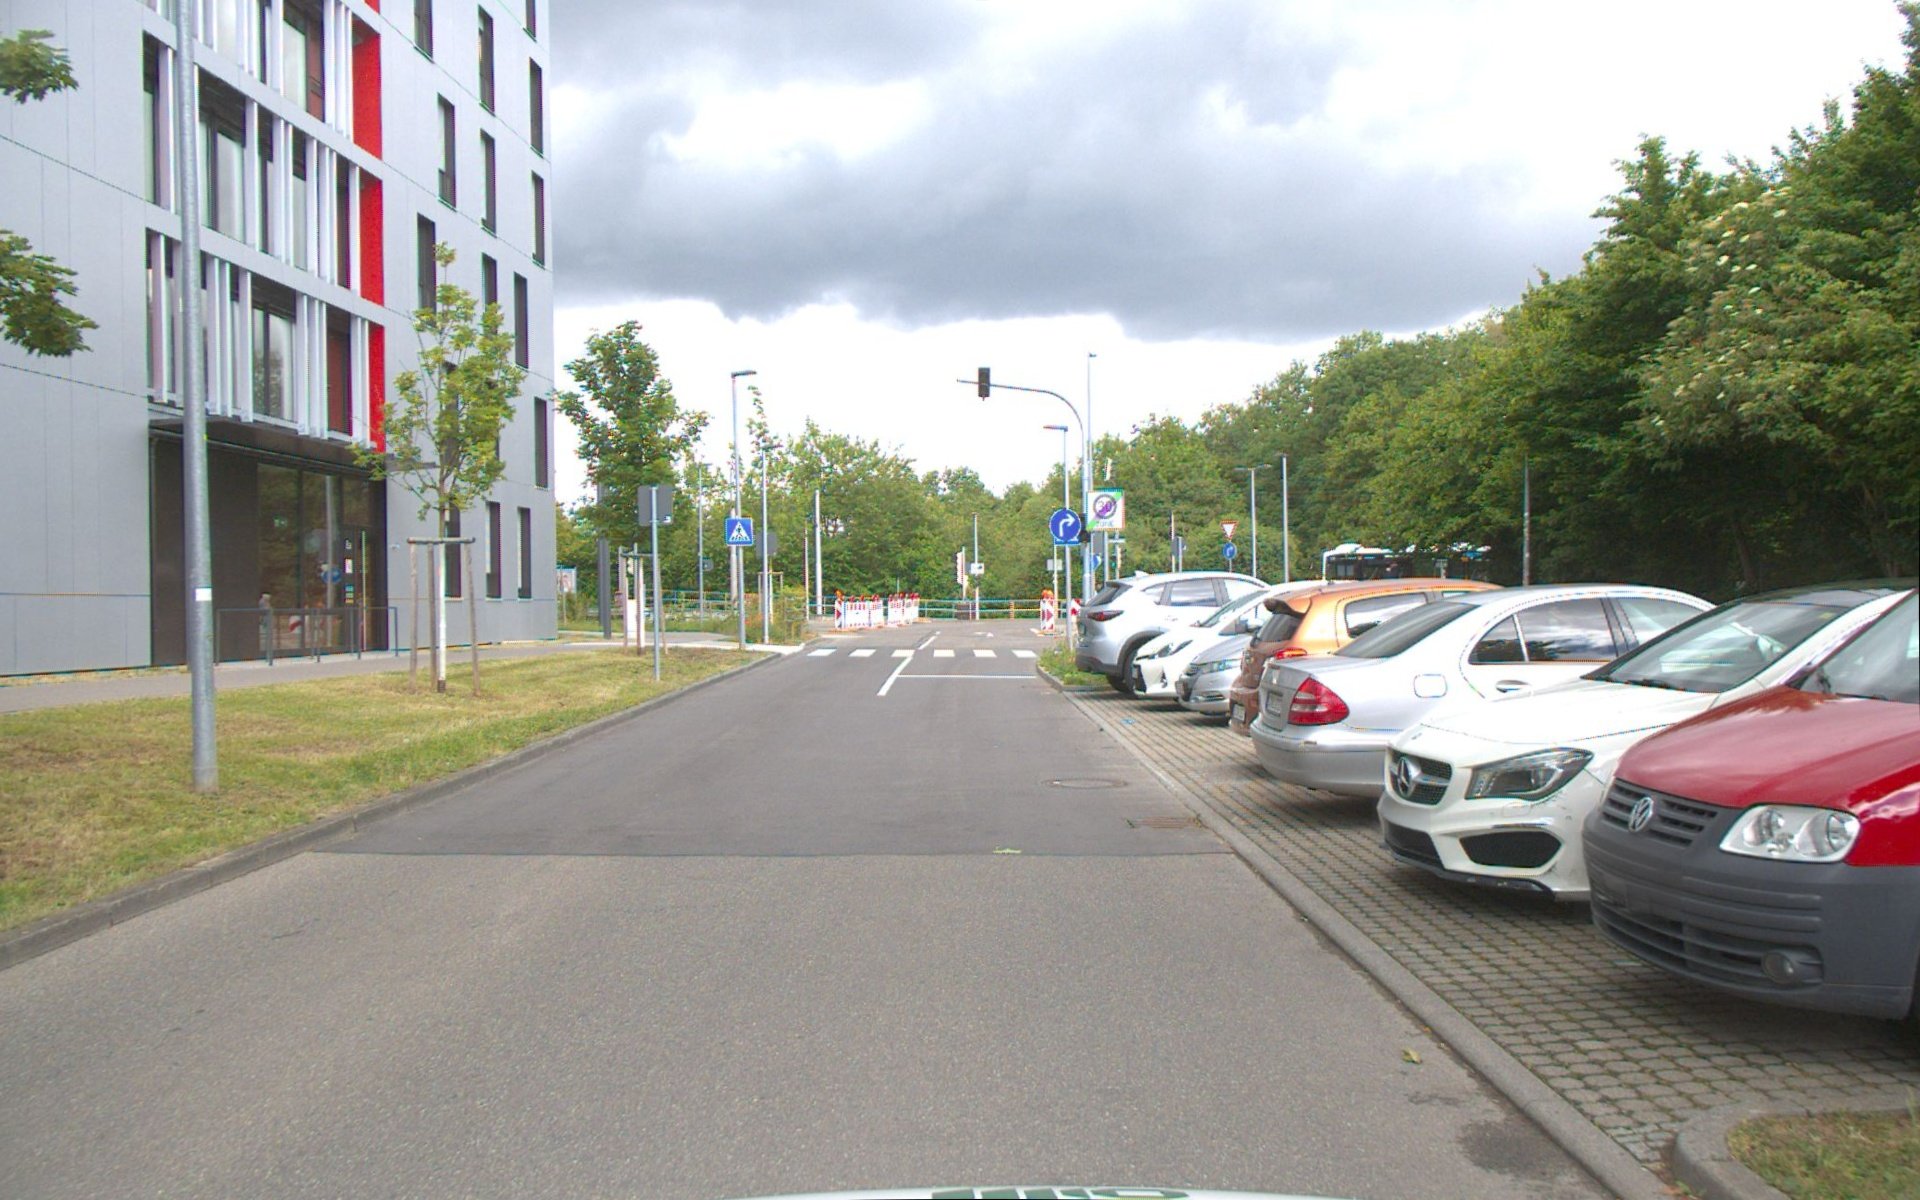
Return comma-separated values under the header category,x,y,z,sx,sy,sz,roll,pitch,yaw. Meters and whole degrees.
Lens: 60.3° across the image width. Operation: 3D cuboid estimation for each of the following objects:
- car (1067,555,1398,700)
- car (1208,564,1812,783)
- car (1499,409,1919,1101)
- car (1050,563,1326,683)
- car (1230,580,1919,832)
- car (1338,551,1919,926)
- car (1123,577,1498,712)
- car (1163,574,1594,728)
category,x,y,z,sx,sy,sz,roll,pitch,yaw
car,3.738,0.365,23.204,4.291,1.937,1.915,0,0,-3
car,4.329,0.543,13.481,4.291,1.646,1.915,0,0,-3
car,4.320,0.427,5.708,4.291,1.937,1.935,0,0,-3
car,3.732,0.361,27.561,4.291,1.937,1.915,0,0,-3
car,4.100,0.626,10.915,4.291,1.500,1.915,0,0,-3
car,4.234,0.599,8.129,4.291,1.601,1.915,0,0,-3
car,4.305,0.518,20.770,4.291,1.610,1.915,0,0,-3
car,4.535,0.525,18.365,4.291,1.610,1.915,0,0,-3
